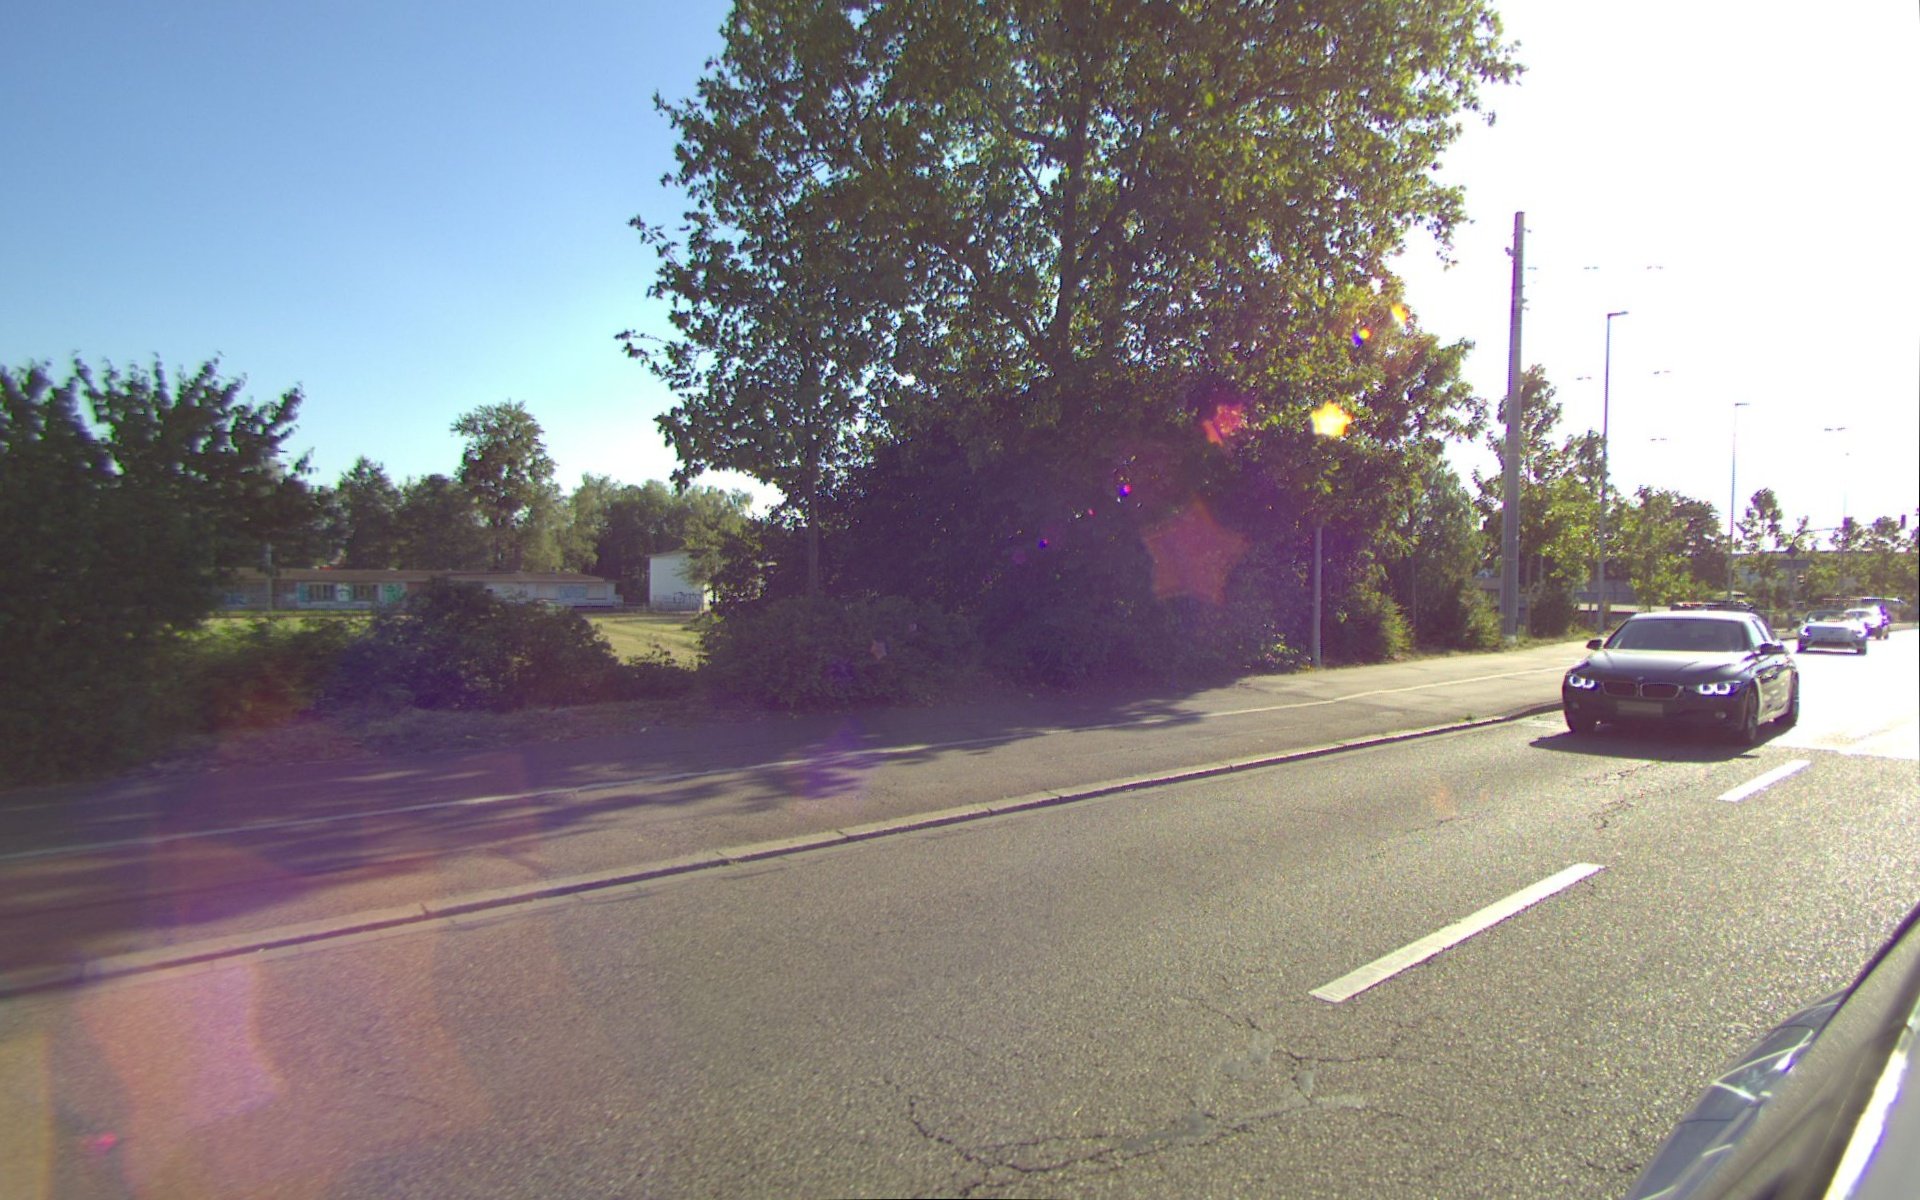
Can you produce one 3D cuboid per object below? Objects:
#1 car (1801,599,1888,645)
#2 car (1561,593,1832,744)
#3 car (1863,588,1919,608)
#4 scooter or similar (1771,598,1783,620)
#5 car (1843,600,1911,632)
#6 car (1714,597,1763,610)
[{"bbox_3d":[30.051,0.696,34.345,3.913,1.441,1.854,0,1,-43],"label":"car"},{"bbox_3d":[9.177,0.678,12.461,4.509,1.485,1.868,-1,1,-43],"label":"car"},{"bbox_3d":[100.359,-0.196,108.294,2.067,2.048,5.346,0,-1,-40],"label":"car"},{"bbox_3d":[48.982,0.539,60.680,0.522,1.246,1.249,2,2,38],"label":"scooter or similar"},{"bbox_3d":[44.937,0.758,49.593,3.925,1.530,1.741,0,0,-37],"label":"car"},{"bbox_3d":[96.777,0.444,125.837,1.826,1.589,4.656,0,-1,-41],"label":"car"}]
